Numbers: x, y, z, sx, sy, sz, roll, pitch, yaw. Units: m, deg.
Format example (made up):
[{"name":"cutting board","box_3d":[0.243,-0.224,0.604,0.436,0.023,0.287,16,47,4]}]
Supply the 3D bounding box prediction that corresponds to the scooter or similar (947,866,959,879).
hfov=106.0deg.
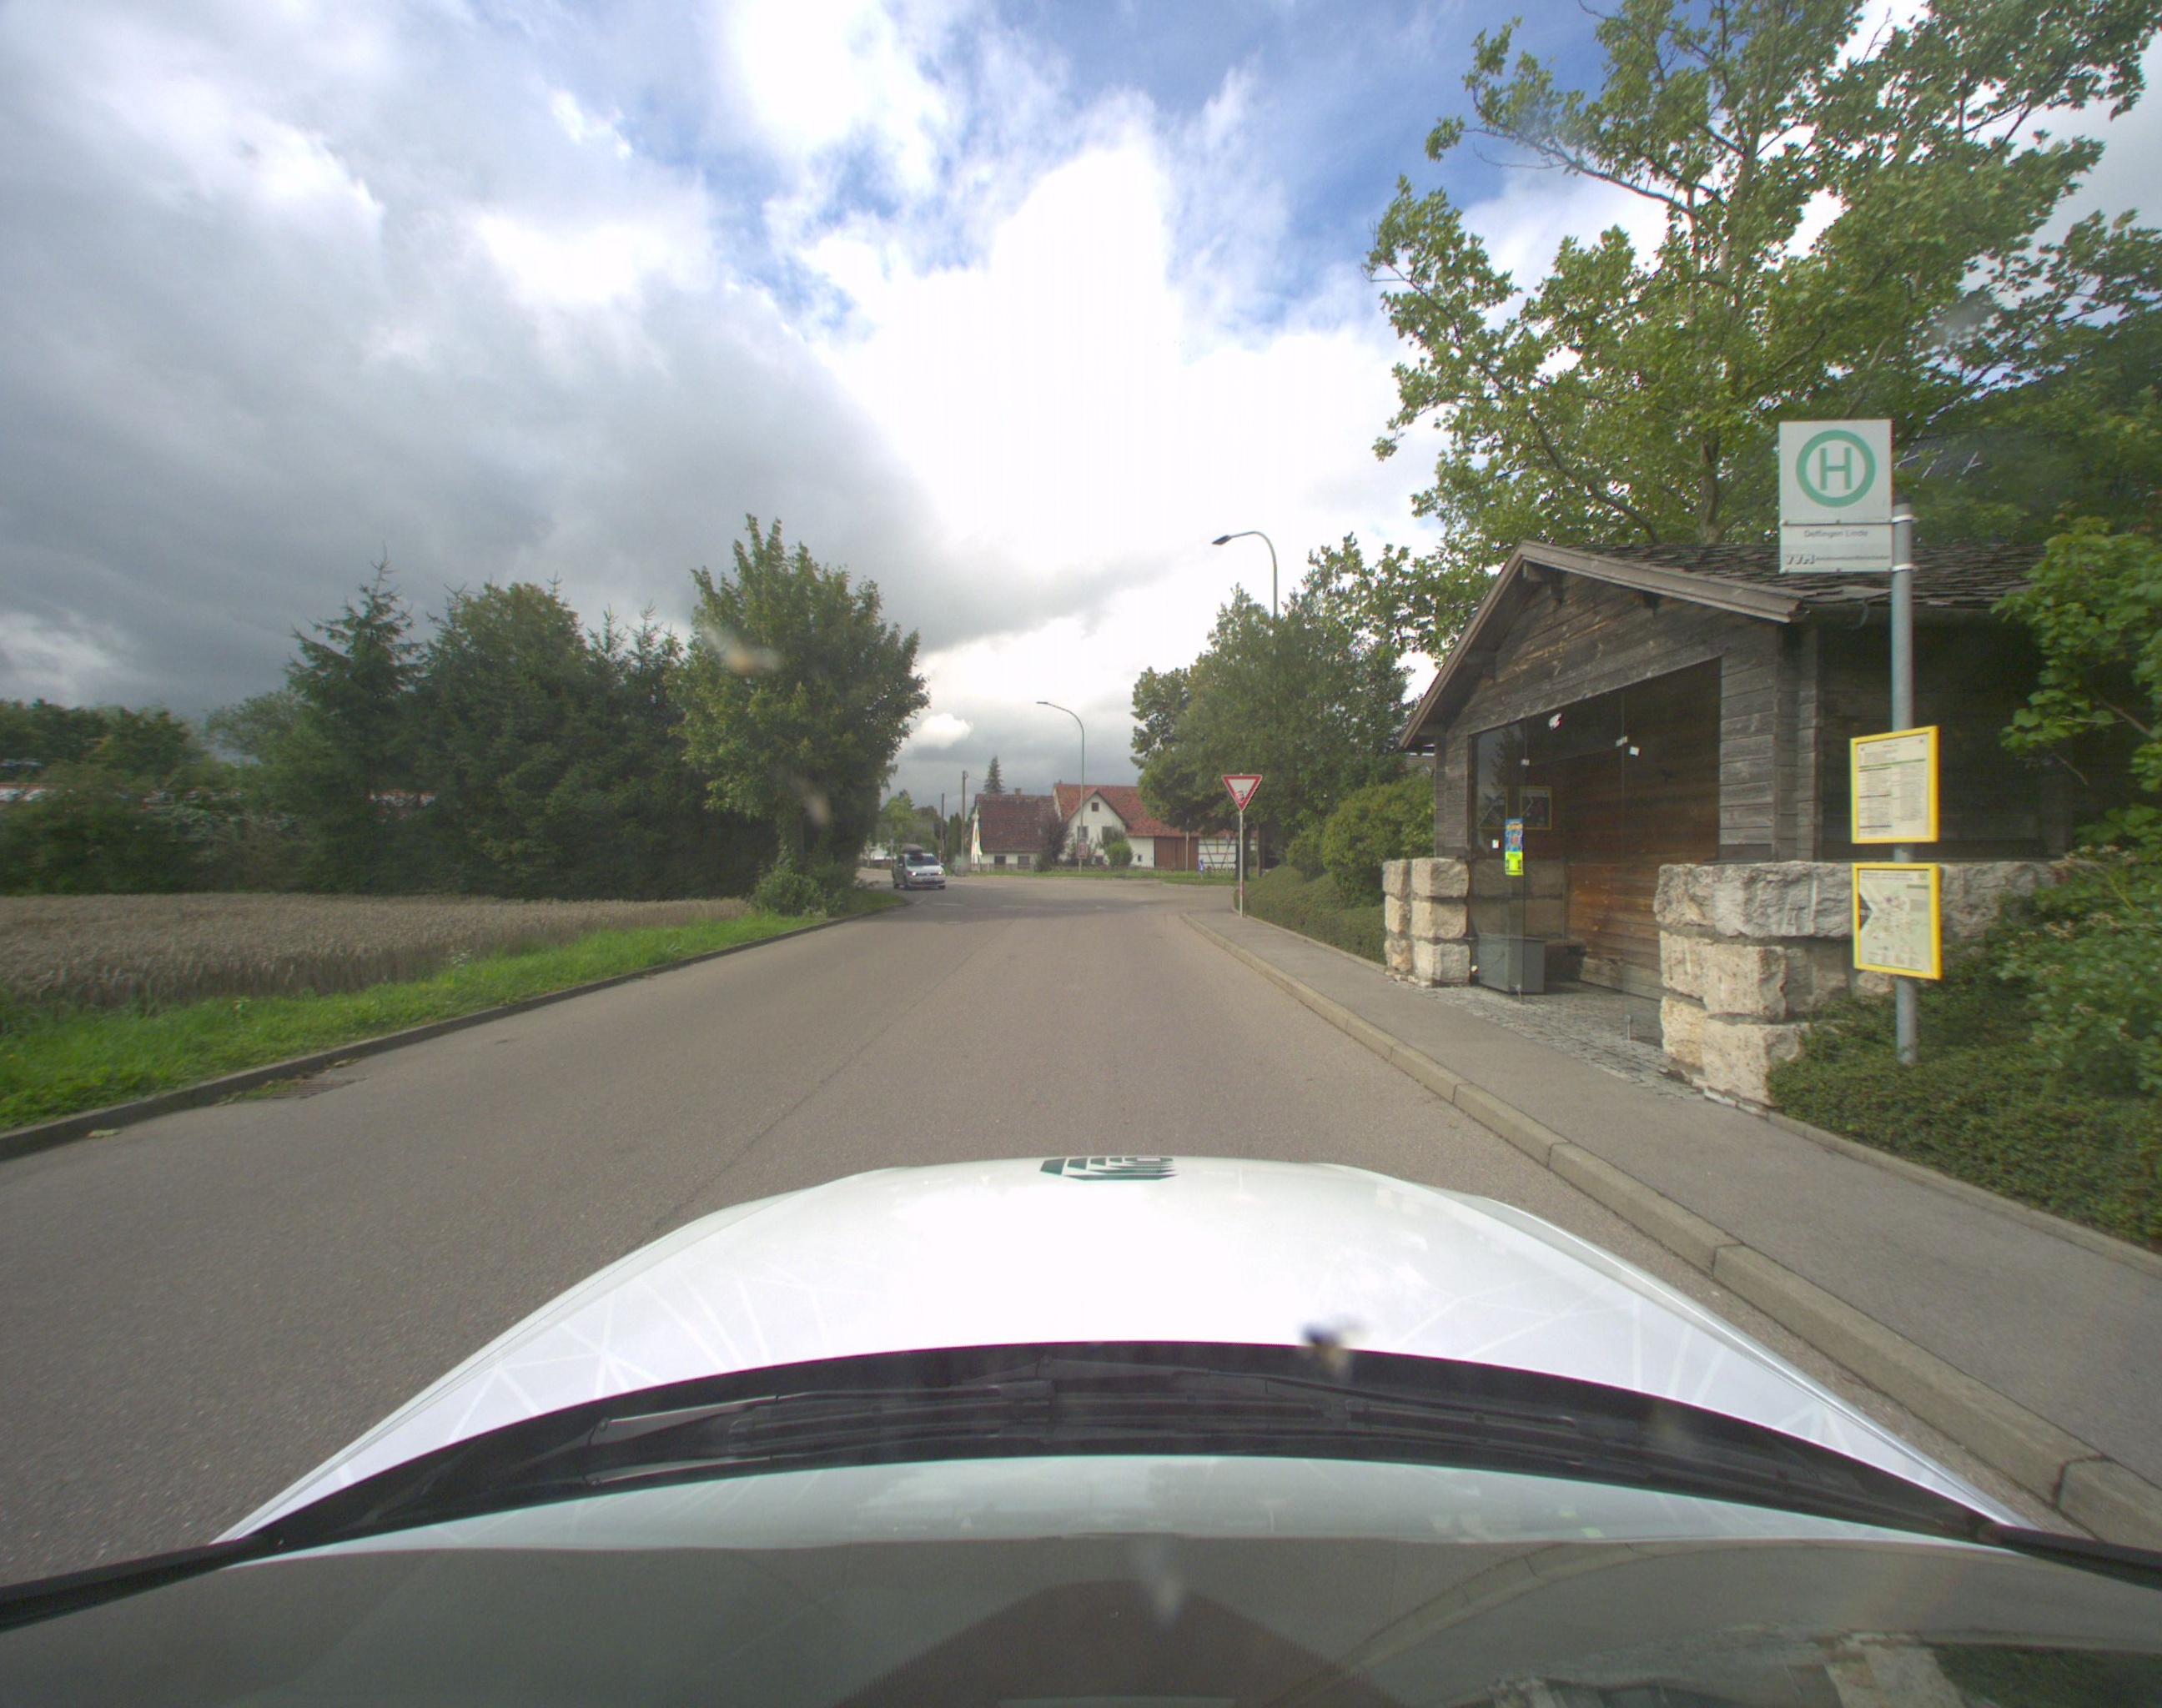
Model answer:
[{"name":"scooter or similar","box_3d":[-9.552,1.373,60.859,0.634,0.948,0.616,5,-3,-32]}]

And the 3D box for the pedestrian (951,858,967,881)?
[{"name":"pedestrian","box_3d":[-9.042,1.126,60.325,0.793,1.665,0.705,5,-3,-32]}]

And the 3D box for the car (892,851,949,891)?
[{"name":"car","box_3d":[-7.326,0.732,36.931,1.706,1.665,4.001,-1,0,-23]}]
